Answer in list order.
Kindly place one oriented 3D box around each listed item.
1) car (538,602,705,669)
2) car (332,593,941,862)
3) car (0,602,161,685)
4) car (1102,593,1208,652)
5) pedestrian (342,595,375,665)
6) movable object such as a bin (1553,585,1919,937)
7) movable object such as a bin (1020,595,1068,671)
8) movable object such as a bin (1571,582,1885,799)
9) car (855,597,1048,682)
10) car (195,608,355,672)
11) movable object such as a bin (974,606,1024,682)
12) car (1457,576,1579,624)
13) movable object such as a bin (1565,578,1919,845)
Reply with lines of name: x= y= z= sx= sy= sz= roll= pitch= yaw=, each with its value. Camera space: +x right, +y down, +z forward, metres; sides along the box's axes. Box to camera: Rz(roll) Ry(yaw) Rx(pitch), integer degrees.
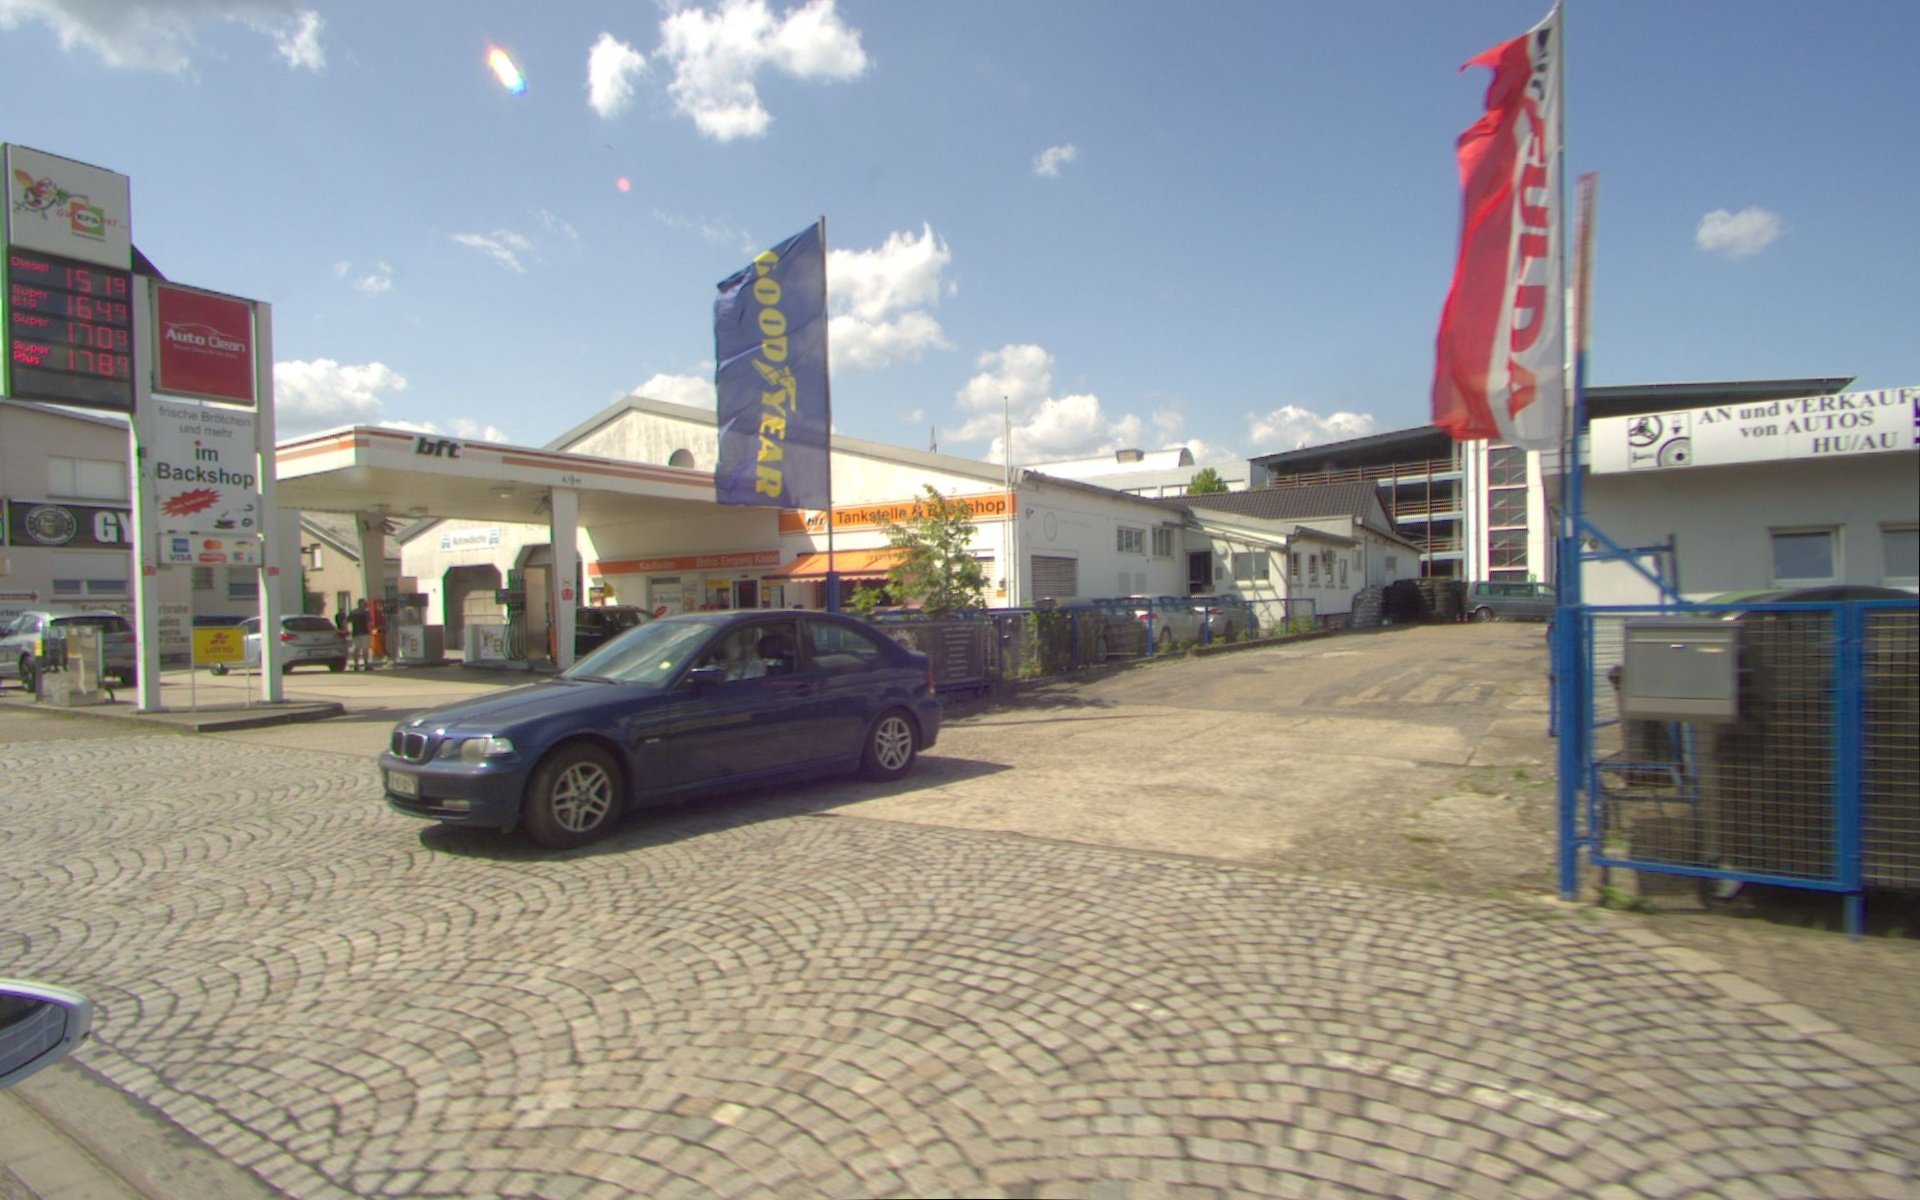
car: x=-8.697 y=0.835 z=25.576 sx=4.429 sy=1.540 sz=1.678 roll=1 pitch=1 yaw=33
car: x=-2.087 y=0.740 z=7.382 sx=1.628 sy=1.426 sz=4.034 roll=-2 pitch=-2 yaw=40
car: x=-19.499 y=0.933 z=21.894 sx=4.553 sy=1.646 sz=1.941 roll=-1 pitch=-2 yaw=34
car: x=5.291 y=0.569 z=26.880 sx=1.507 sy=1.443 sz=3.573 roll=-2 pitch=0 yaw=34
pedestrian: x=-15.552 y=0.783 z=25.893 sx=0.569 sy=1.799 sz=0.496 roll=-1 pitch=-2 yaw=31
movable object such as a bin: x=3.929 y=0.668 z=4.929 sx=1.684 sy=1.364 sz=1.960 roll=-2 pitch=-2 yaw=32
movable object such as a bin: x=1.585 y=0.615 z=18.837 sx=0.696 sy=1.409 sz=0.579 roll=-1 pitch=1 yaw=31
movable object such as a bin: x=5.763 y=0.647 z=7.741 sx=1.740 sy=1.428 sz=1.529 roll=-2 pitch=-2 yaw=32
car: x=-0.046 y=0.720 z=19.684 sx=1.747 sy=1.443 sz=4.123 roll=-2 pitch=0 yaw=34
car: x=-17.711 y=1.036 z=25.855 sx=4.359 sy=1.490 sz=1.689 roll=-2 pitch=0 yaw=31
movable object such as a bin: x=0.690 y=0.783 z=17.698 sx=0.696 sy=1.313 sz=0.580 roll=-1 pitch=-2 yaw=32
car: x=26.117 y=0.052 z=47.046 sx=4.871 sy=2.039 sz=1.965 roll=-2 pitch=-2 yaw=29
movable object such as a bin: x=4.916 y=0.642 z=6.419 sx=1.740 sy=1.428 sz=1.529 roll=-2 pitch=-2 yaw=32
